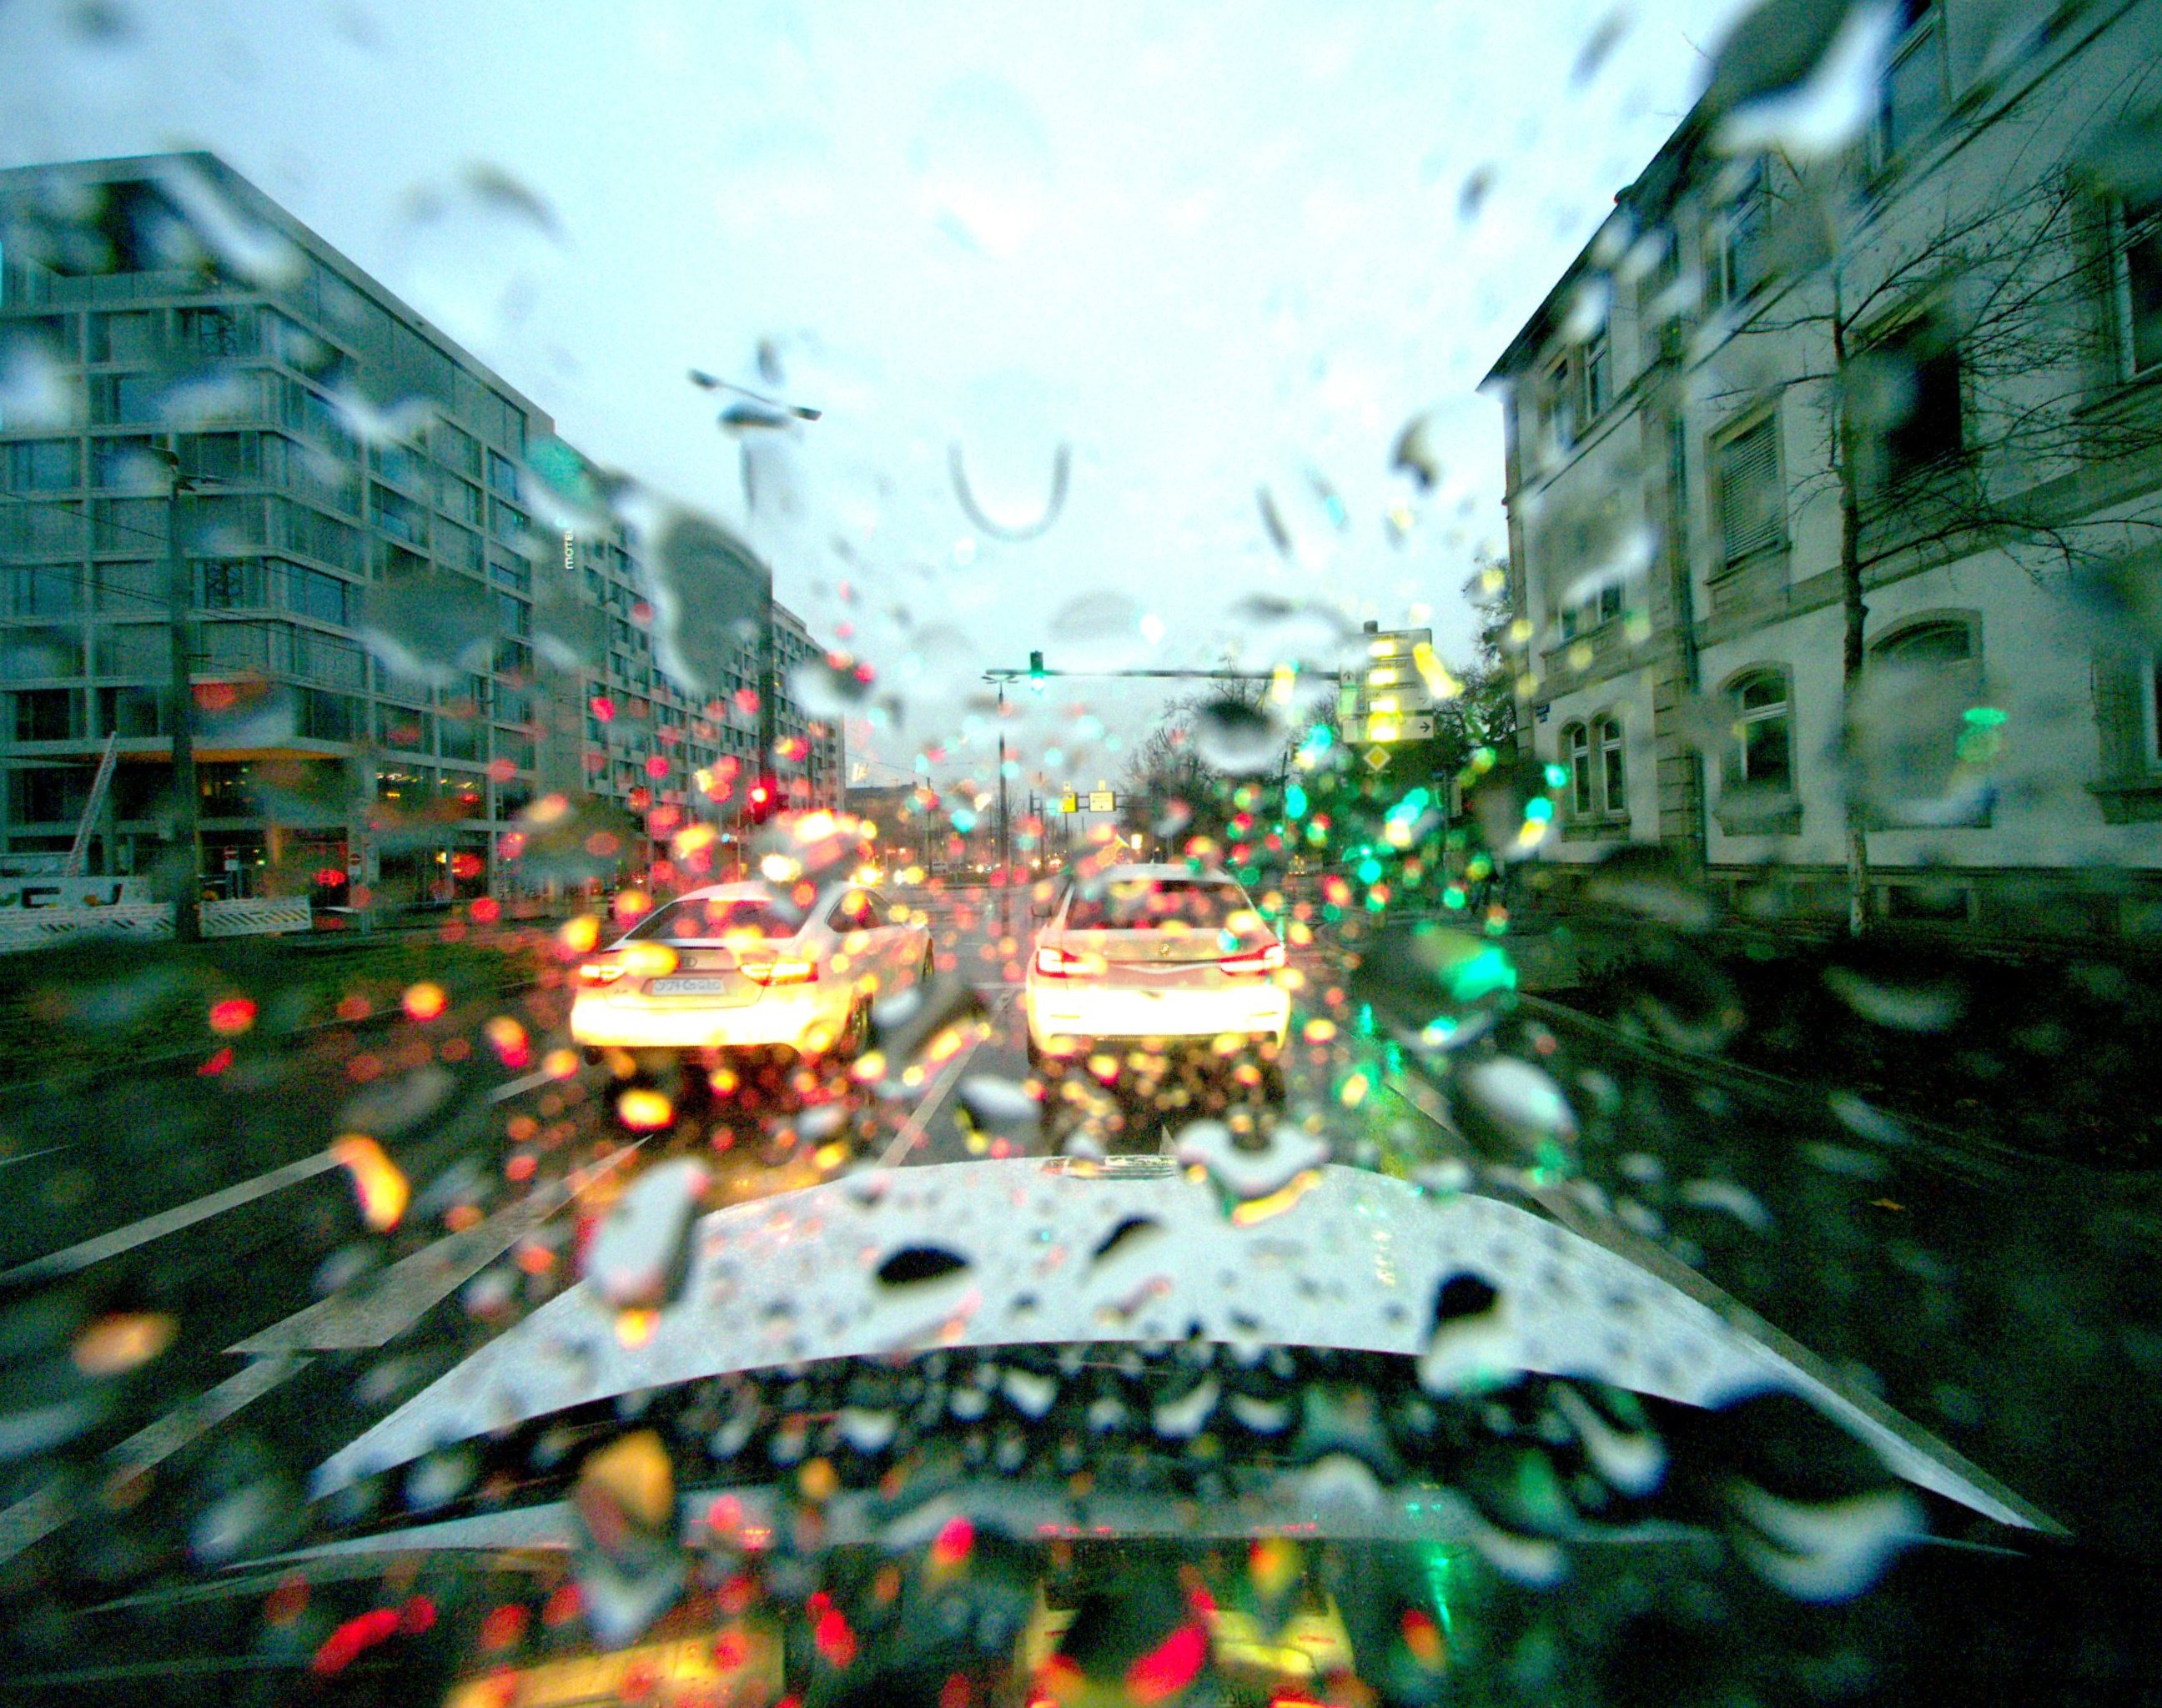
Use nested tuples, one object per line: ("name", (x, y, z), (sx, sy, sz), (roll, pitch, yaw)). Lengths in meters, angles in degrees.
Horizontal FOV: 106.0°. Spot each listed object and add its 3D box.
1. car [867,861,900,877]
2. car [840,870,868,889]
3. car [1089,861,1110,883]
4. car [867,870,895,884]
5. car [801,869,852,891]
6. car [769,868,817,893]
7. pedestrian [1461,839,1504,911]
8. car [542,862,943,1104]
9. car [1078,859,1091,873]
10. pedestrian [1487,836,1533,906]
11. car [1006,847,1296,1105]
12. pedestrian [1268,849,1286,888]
("car", (-18.854, 1.398, 77.965), (1.988, 1.462, 5.090), (0, 0, -2))
("car", (-18.974, 2.072, 68.319), (1.995, 1.462, 5.073), (0, -1, -12))
("car", (1.780, 1.739, 79.104), (1.986, 2.014, 4.001), (0, -1, 2))
("car", (-23.153, 2.630, 94.468), (1.987, 1.462, 5.094), (0, 0, 0))
("car", (-18.666, 1.866, 59.962), (1.986, 1.462, 5.097), (0, 0, 2))
("car", (-21.771, 1.999, 61.761), (1.874, 1.789, 4.601), (0, -1, 2))
("pedestrian", (9.006, 0.461, 18.290), (0.775, 1.579, 1.016), (-1, -1, 21))
("car", (-2.456, 0.820, 7.175), (1.754, 1.470, 4.250), (0, -1, 0))
("car", (0.537, 1.845, 124.843), (1.986, 2.014, 4.001), (0, -1, 2))
("pedestrian", (10.380, 0.395, 19.701), (0.774, 1.632, 1.017), (-1, -1, 40))
("car", (0.420, 0.756, 7.087), (1.754, 1.552, 4.250), (0, -1, 0))
("pedestrian", (9.596, 0.696, 39.875), (0.670, 1.879, 0.715), (0, -1, 1))
